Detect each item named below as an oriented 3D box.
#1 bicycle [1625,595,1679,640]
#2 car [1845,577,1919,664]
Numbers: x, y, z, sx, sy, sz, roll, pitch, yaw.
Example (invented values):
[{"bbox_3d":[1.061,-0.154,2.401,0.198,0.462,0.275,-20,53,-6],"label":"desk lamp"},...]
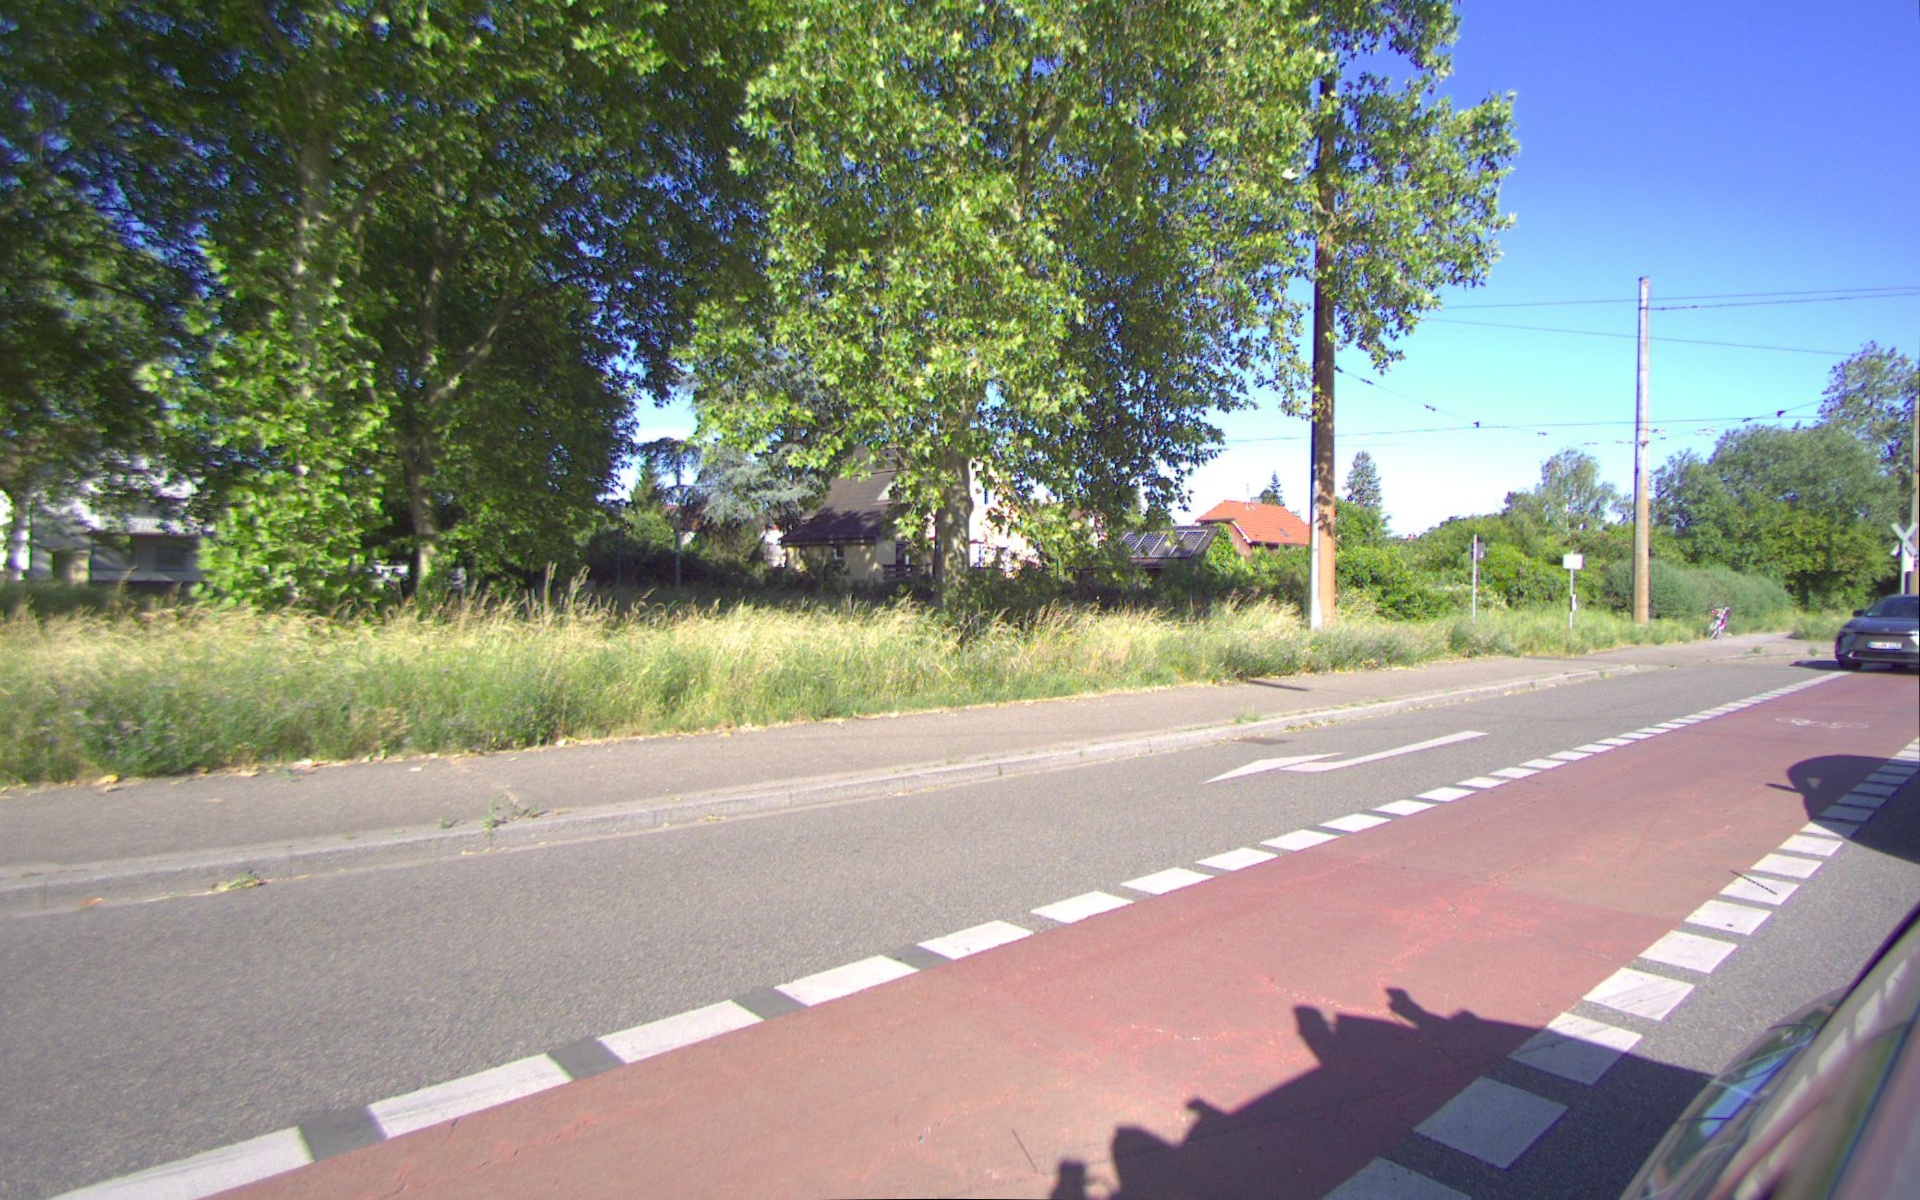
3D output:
[{"bbox_3d":[18.573,0.455,27.211,0.360,1.149,2.089,1,1,10],"label":"bicycle"},{"bbox_3d":[20.164,0.406,20.711,4.408,1.651,1.773,1,1,-31],"label":"car"}]
